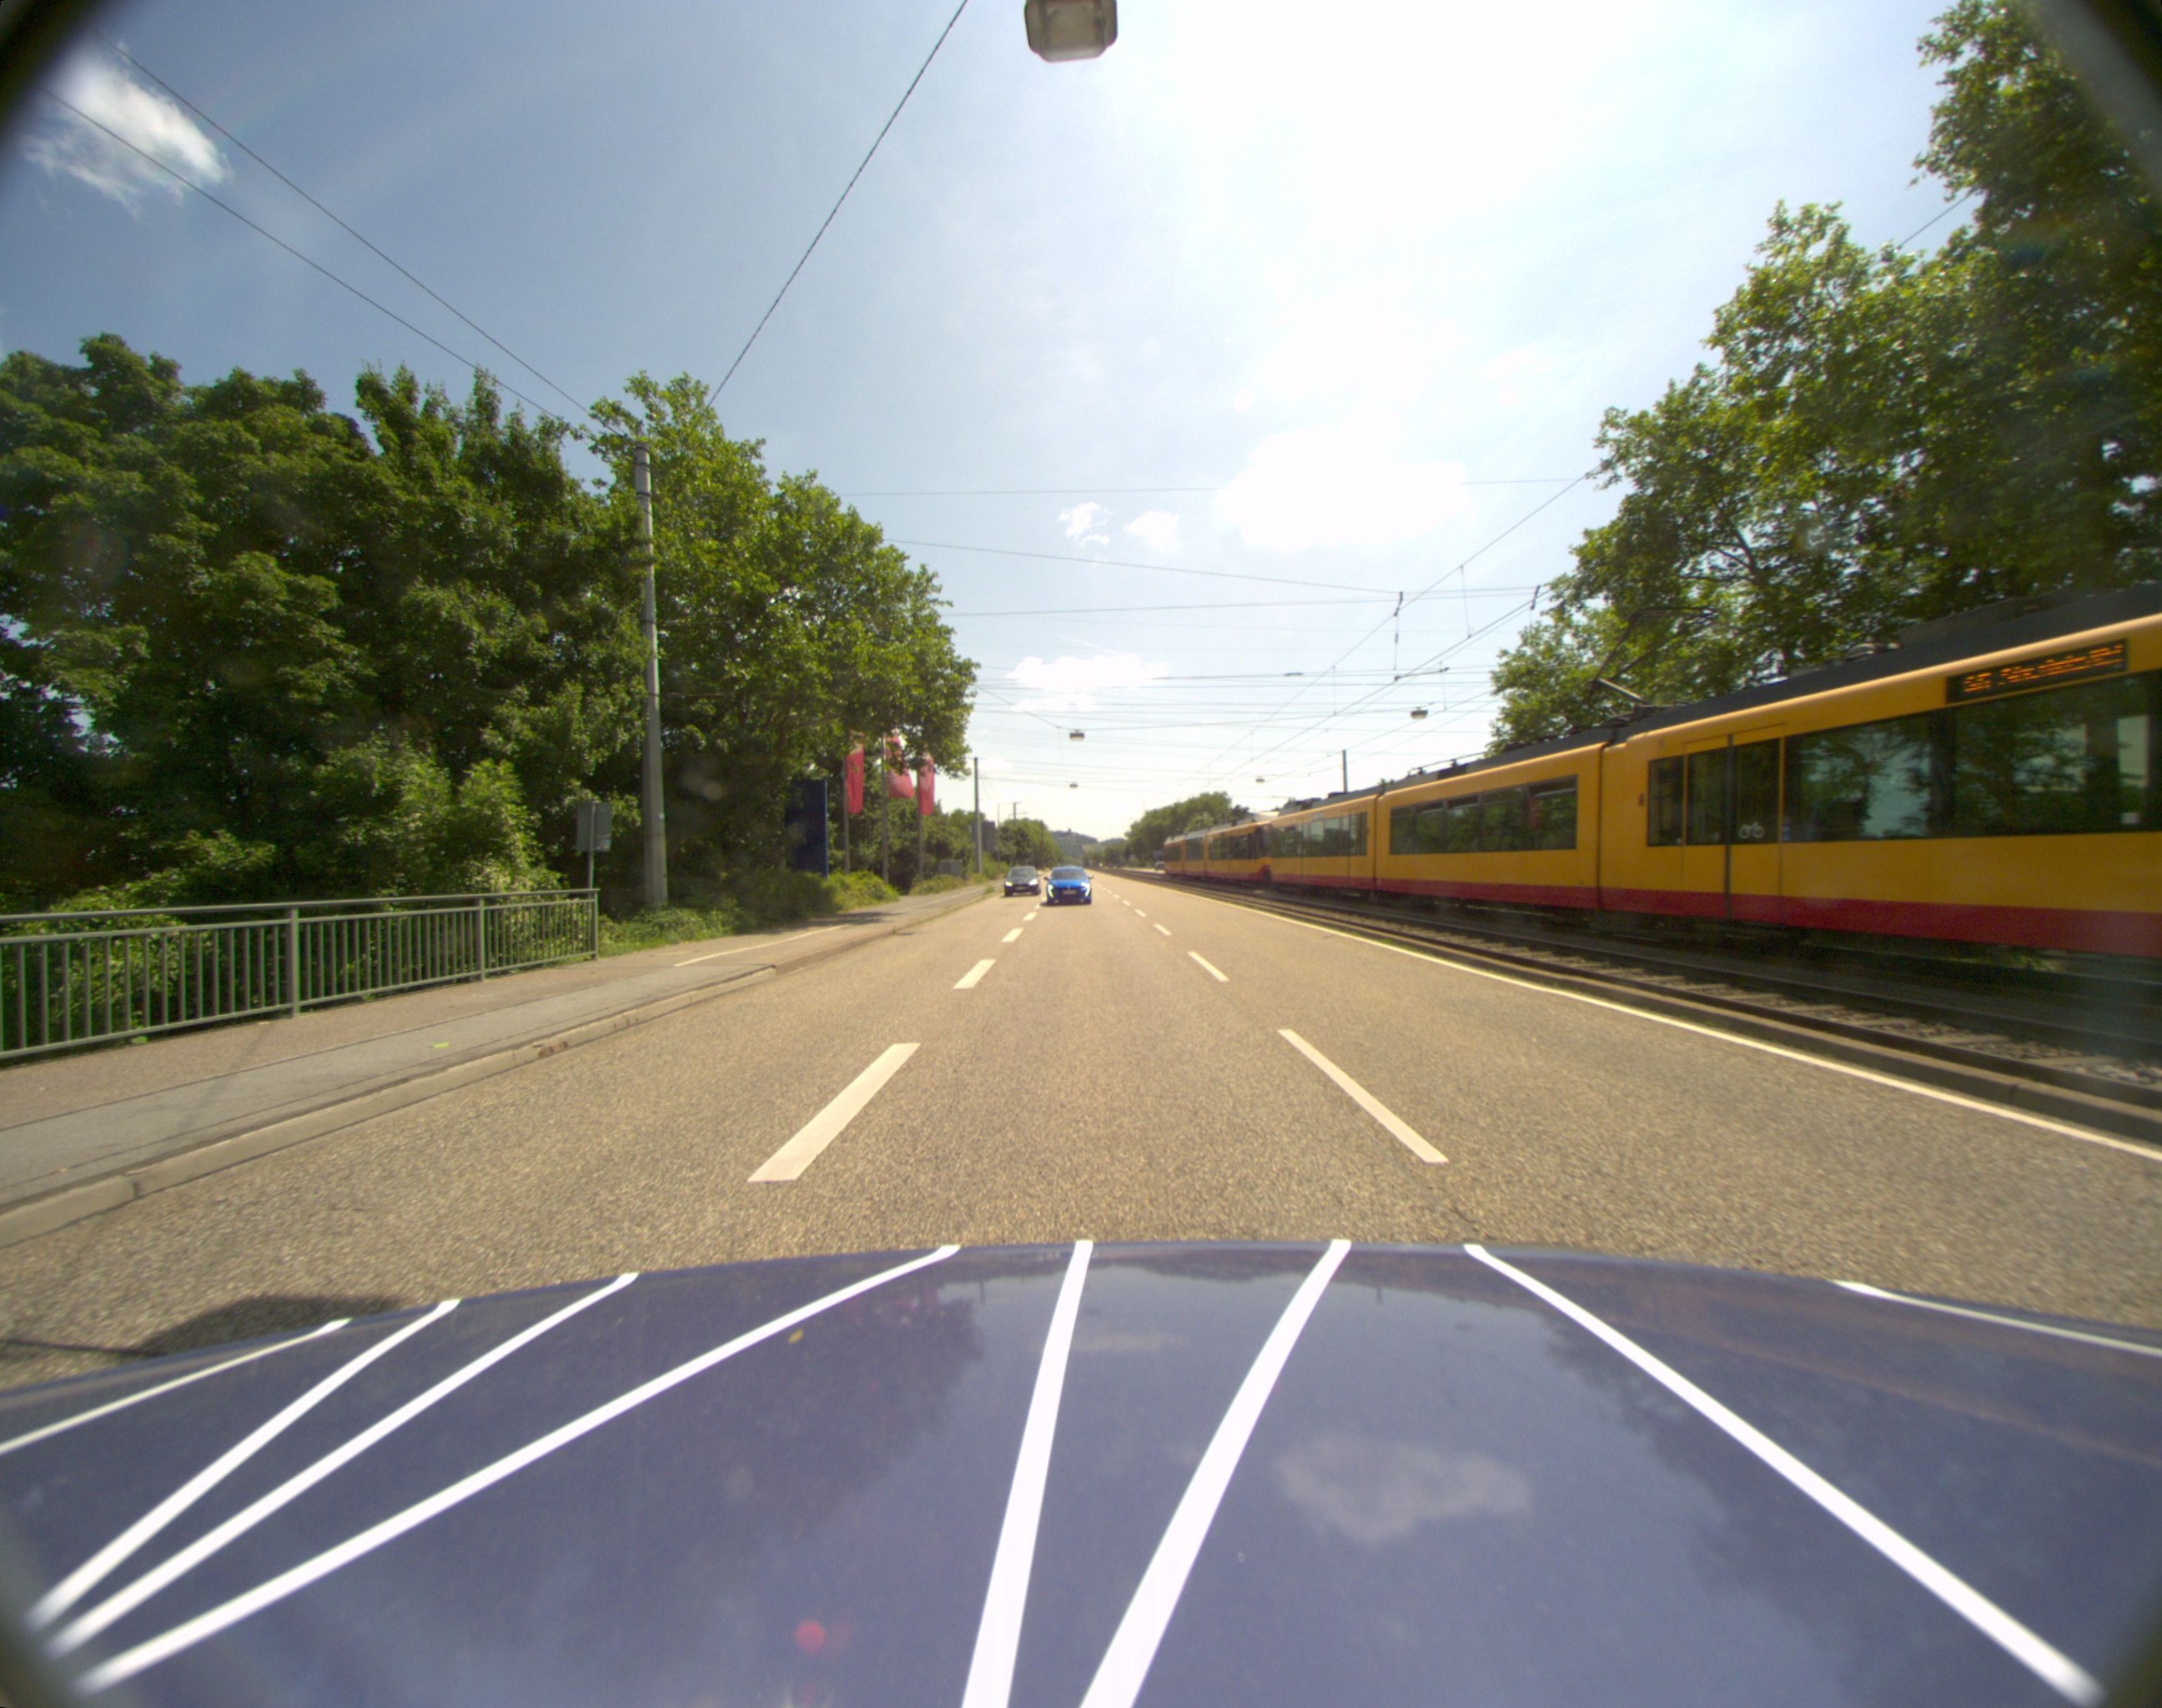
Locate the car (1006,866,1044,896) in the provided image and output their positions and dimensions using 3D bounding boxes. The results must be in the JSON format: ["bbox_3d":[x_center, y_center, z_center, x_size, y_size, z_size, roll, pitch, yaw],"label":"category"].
[{"bbox_3d":[-2.946,1.415,40.671,1.771,1.422,4.000,-3,0,-1],"label":"car"}]

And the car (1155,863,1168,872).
[{"bbox_3d":[14.343,2.344,135.888,1.757,1.526,3.956,-1,0,-2],"label":"car"}]

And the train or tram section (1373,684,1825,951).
[{"bbox_3d":[10.085,-0.568,17.008,3.046,4.124,10.232,-1,0,0],"label":"train or tram section"}]

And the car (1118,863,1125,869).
[{"bbox_3d":[13.275,3.781,248.248,1.862,1.916,5.007,0,0,-1],"label":"car"}]

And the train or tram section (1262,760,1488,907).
[{"bbox_3d":[9.981,-0.566,28.400,3.046,4.130,13.480,-1,0,-1],"label":"train or tram section"}]

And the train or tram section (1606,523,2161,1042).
[{"bbox_3d":[10.102,-0.590,5.451,3.045,4.116,13.981,-1,0,0],"label":"train or tram section"}]

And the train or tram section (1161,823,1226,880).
[{"bbox_3d":[9.350,-0.153,65.155,3.056,4.242,15.421,-1,0,-1],"label":"train or tram section"}]

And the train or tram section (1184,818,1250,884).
[{"bbox_3d":[9.486,-0.199,53.870,3.056,4.242,8.001,-1,0,-1],"label":"train or tram section"}]

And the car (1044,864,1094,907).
[{"bbox_3d":[-0.473,1.199,30.156,1.771,1.463,4.467,-3,0,-1],"label":"car"}]

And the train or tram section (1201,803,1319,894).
[{"bbox_3d":[9.699,-0.244,43.439,3.056,4.242,14.034,-1,0,-1],"label":"train or tram section"}]
